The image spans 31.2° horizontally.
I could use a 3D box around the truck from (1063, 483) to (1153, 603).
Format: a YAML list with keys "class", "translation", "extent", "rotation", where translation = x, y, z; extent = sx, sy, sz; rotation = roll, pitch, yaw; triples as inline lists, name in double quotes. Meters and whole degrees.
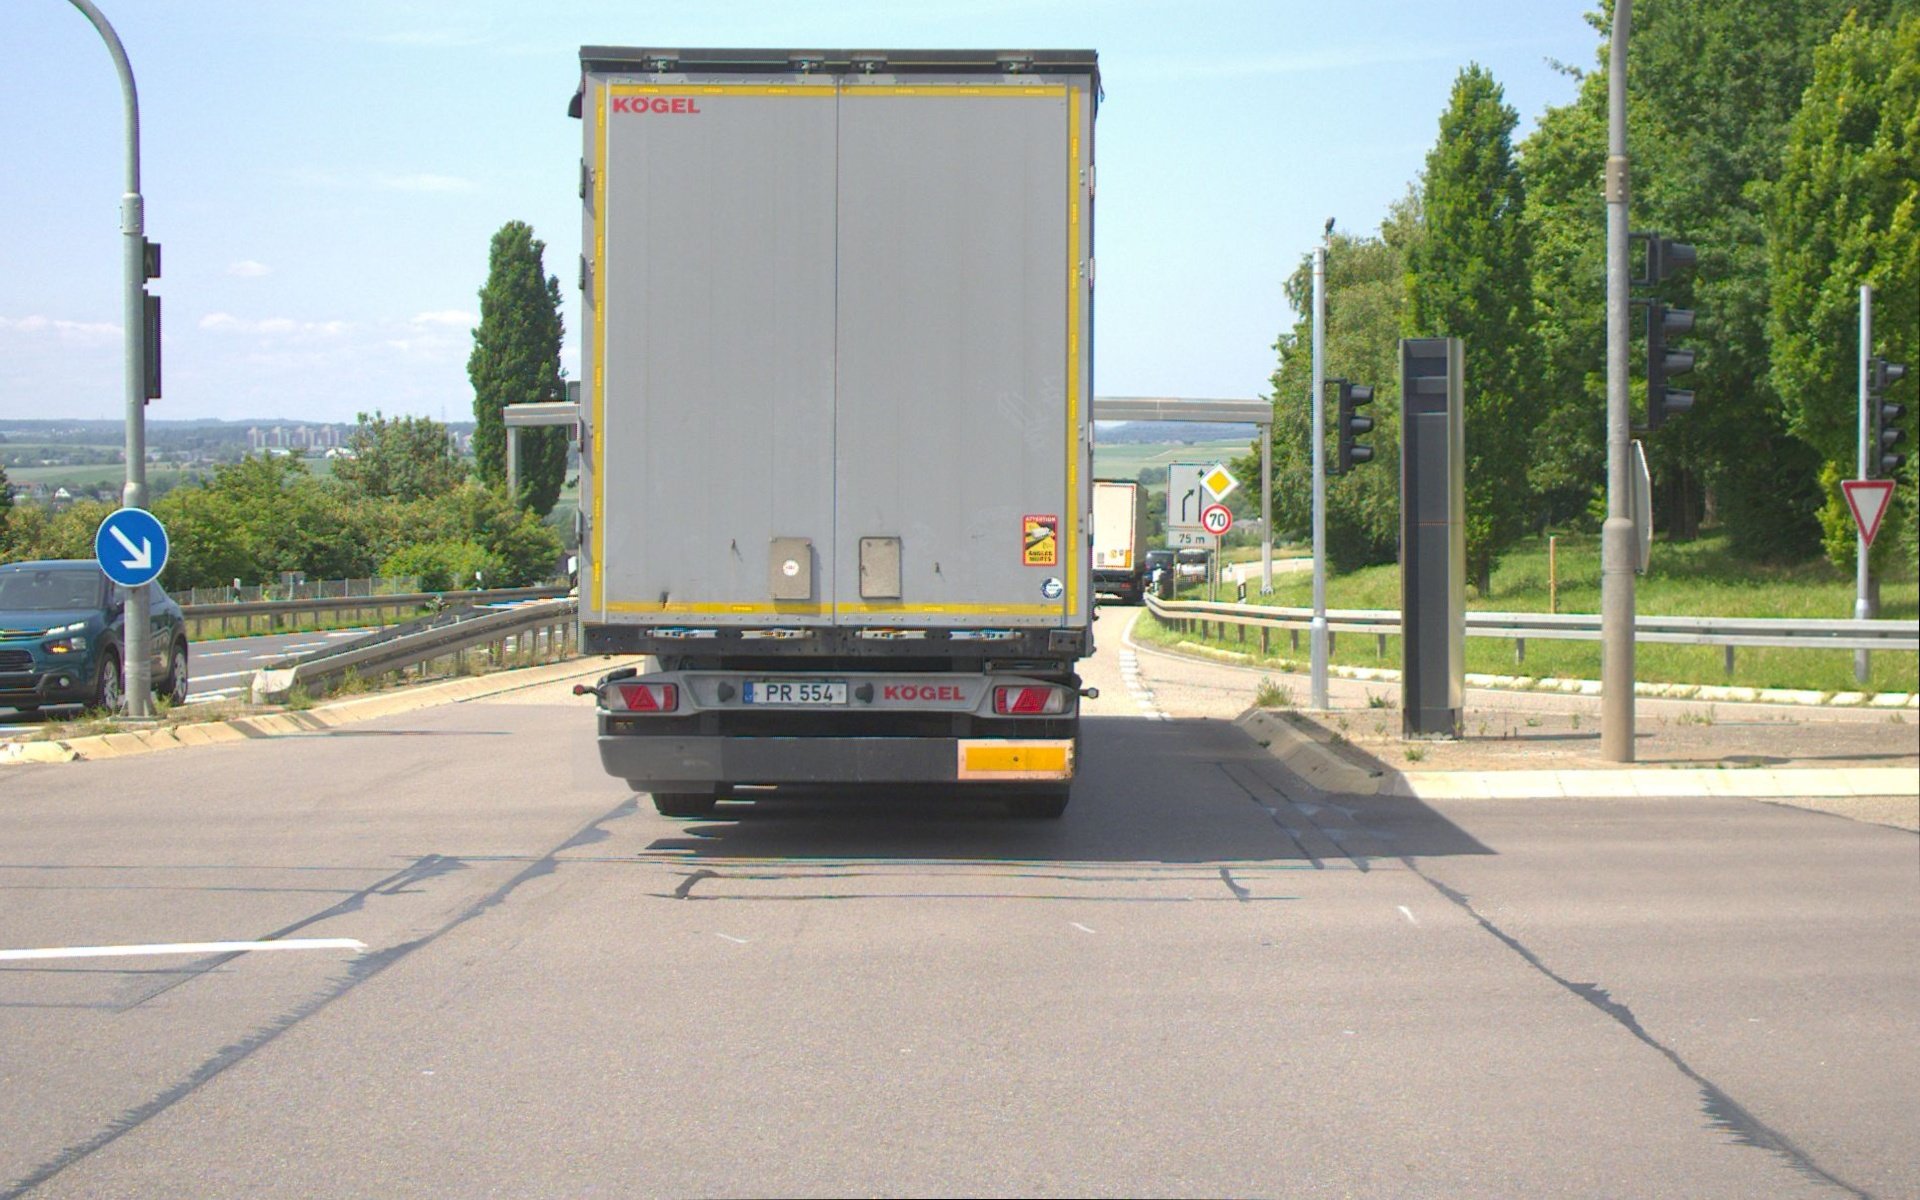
- class: "truck"
  translation: [4.971, -1.808, 114.036]
  extent: [2.656, 3.752, 10.160]
  rotation: [1, 0, 4]

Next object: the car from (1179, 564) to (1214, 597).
- class: "car"
  translation: [12.491, -1.027, 181.903]
  extent: [1.786, 1.682, 3.999]
  rotation: [1, 0, 4]

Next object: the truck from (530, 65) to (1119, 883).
- class: "truck"
  translation: [-0.924, -0.686, 22.341]
  extent: [2.799, 3.916, 11.343]
  rotation: [1, 1, -3]

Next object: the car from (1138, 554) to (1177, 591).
- class: "car"
  translation: [9.361, -1.290, 163.111]
  extent: [1.786, 1.682, 3.999]
  rotation: [1, 0, 4]

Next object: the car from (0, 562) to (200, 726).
- class: "car"
  translation: [-8.688, 0.383, 33.111]
  extent: [1.755, 1.464, 4.196]
  rotation: [-1, 1, 1]
